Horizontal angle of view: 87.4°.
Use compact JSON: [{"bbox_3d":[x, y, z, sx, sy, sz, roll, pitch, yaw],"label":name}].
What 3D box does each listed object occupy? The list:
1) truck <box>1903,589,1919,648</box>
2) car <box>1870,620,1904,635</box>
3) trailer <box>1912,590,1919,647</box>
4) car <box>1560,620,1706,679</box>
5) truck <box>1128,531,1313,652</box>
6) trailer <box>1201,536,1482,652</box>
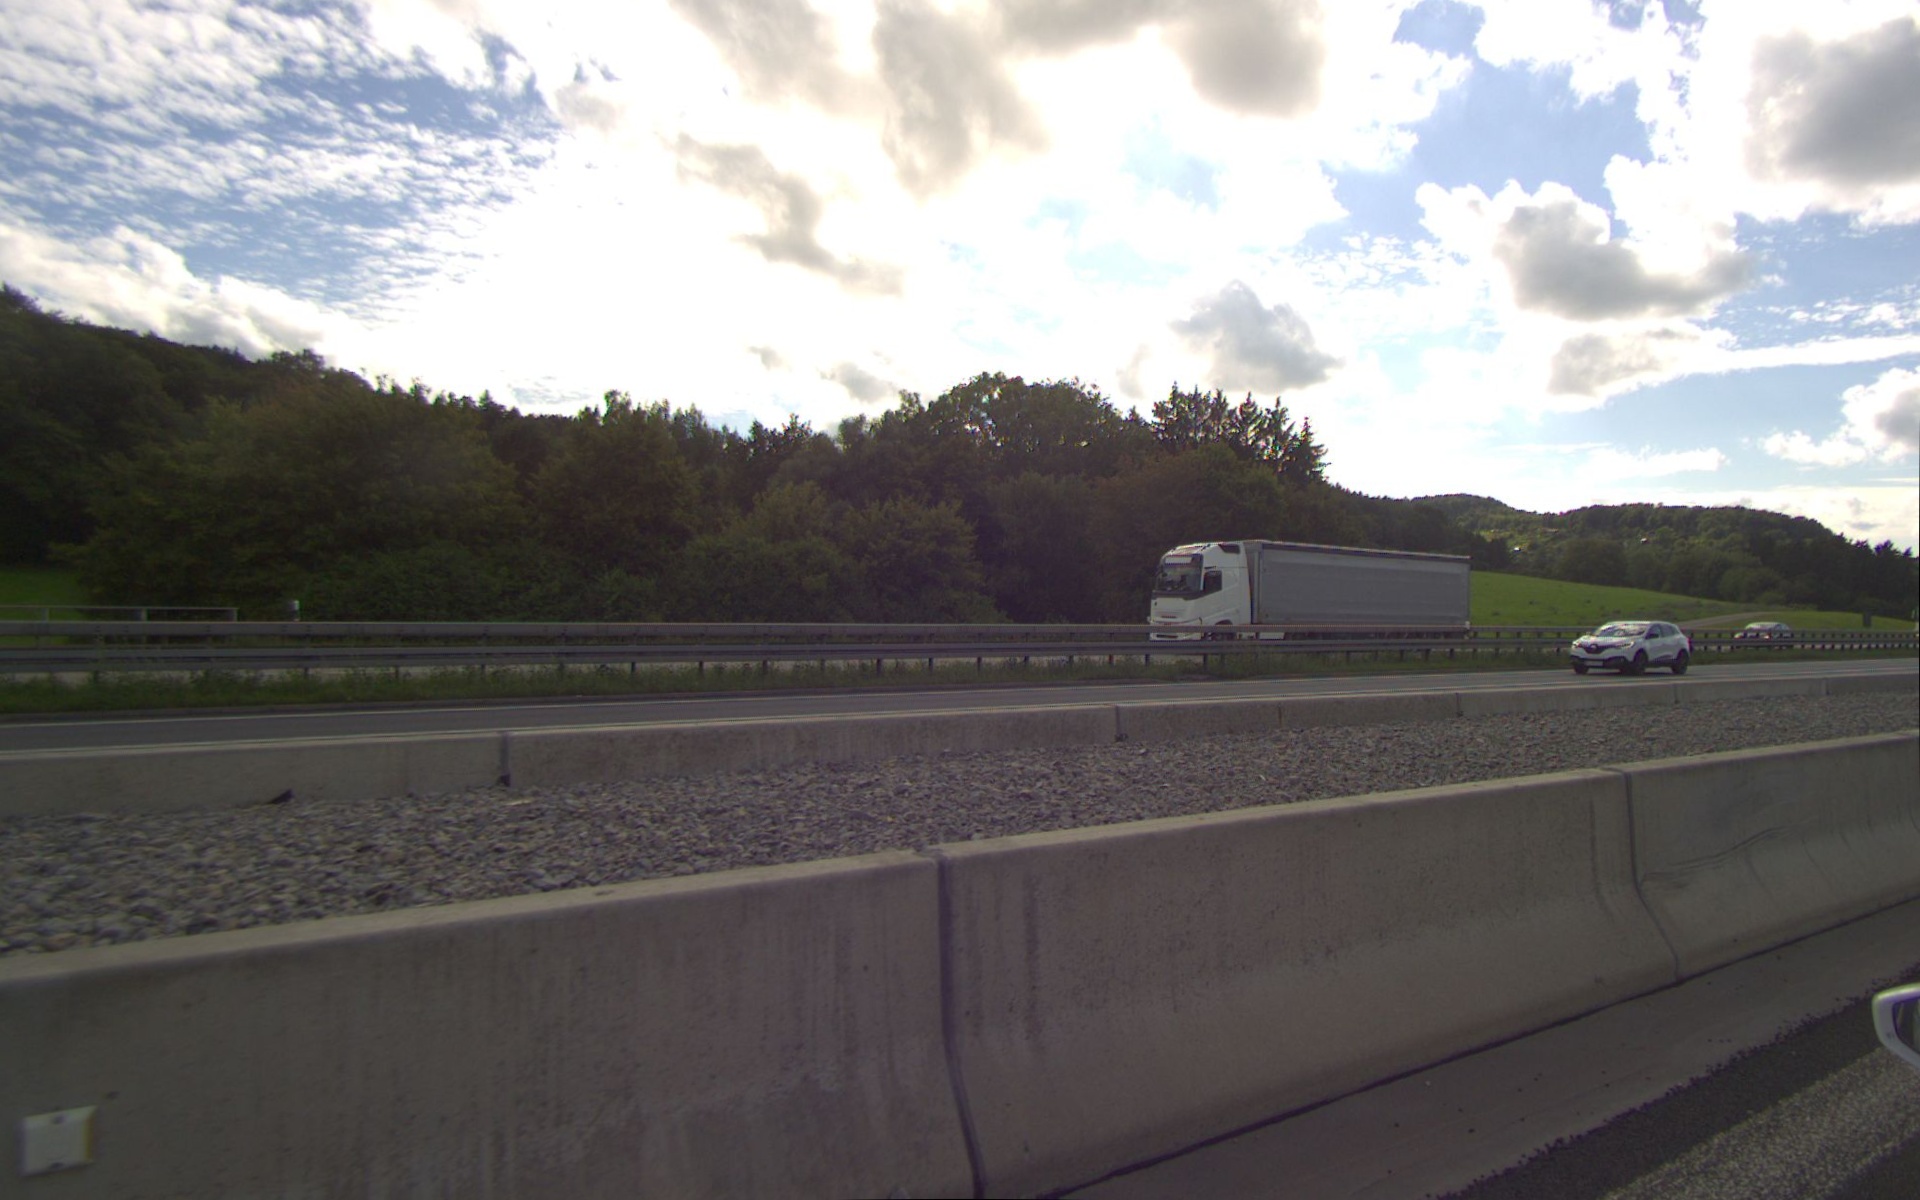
[{"bbox_3d":[87.975,1.731,90.575,6.565,5.210,3.005,2,-1,-36],"label":"truck"},{"bbox_3d":[109.763,3.261,118.943,4.252,1.639,1.792,2,-1,-31],"label":"car"},{"bbox_3d":[94.089,1.880,95.110,14.577,5.229,3.087,2,-1,-36],"label":"trailer"},{"bbox_3d":[20.532,1.477,30.603,4.697,1.652,1.790,2,-1,-30],"label":"car"},{"bbox_3d":[9.634,-0.223,37.094,6.215,4.120,3.136,2,-1,-31],"label":"truck"},{"bbox_3d":[15.783,-0.057,40.783,13.233,4.148,3.136,2,-1,-31],"label":"trailer"}]
